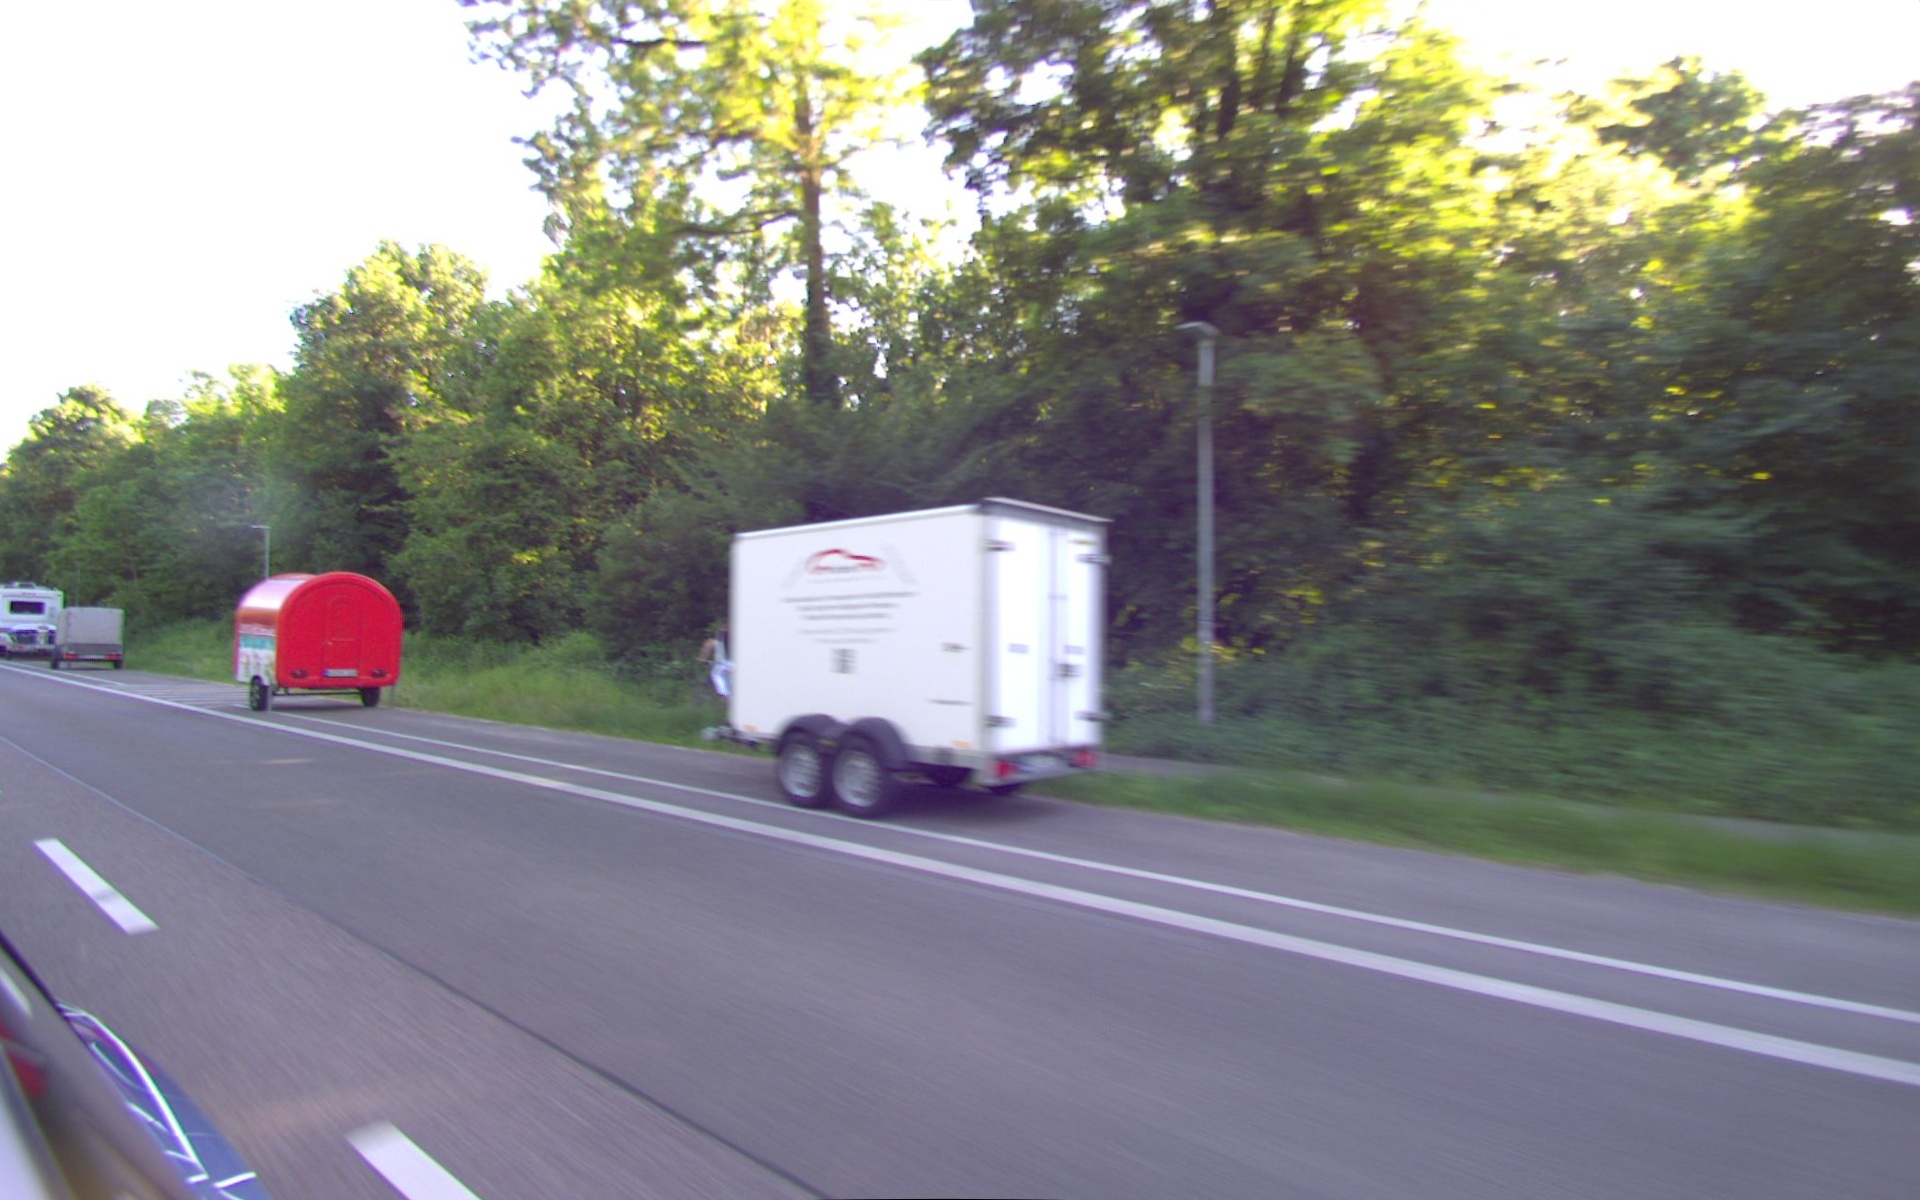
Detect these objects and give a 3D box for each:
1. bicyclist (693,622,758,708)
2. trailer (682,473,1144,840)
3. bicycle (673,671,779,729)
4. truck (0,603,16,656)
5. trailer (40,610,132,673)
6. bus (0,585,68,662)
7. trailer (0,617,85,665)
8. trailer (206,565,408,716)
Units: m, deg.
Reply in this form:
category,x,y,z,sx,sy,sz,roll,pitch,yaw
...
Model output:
category,x,y,z,sx,sy,sz,roll,pitch,yaw
bicyclist,-3.964,1.075,17.117,0.904,1.374,0.664,-1,0,41
trailer,-0.473,0.431,8.813,3.555,2.499,2.047,-1,-2,38
bicycle,-3.989,1.669,17.153,2.098,0.807,0.664,-1,0,41
truck,-55.359,1.684,56.905,8.419,2.845,2.457,-2,-1,41
trailer,-30.002,1.418,34.707,3.559,2.029,1.833,-1,-4,42
bus,-46.697,1.116,49.725,11.194,3.456,2.799,-1,0,41
trailer,-40.126,1.743,43.903,6.260,1.929,2.403,-2,-1,41
trailer,-12.075,0.722,18.667,3.555,2.499,2.047,-1,-2,38
